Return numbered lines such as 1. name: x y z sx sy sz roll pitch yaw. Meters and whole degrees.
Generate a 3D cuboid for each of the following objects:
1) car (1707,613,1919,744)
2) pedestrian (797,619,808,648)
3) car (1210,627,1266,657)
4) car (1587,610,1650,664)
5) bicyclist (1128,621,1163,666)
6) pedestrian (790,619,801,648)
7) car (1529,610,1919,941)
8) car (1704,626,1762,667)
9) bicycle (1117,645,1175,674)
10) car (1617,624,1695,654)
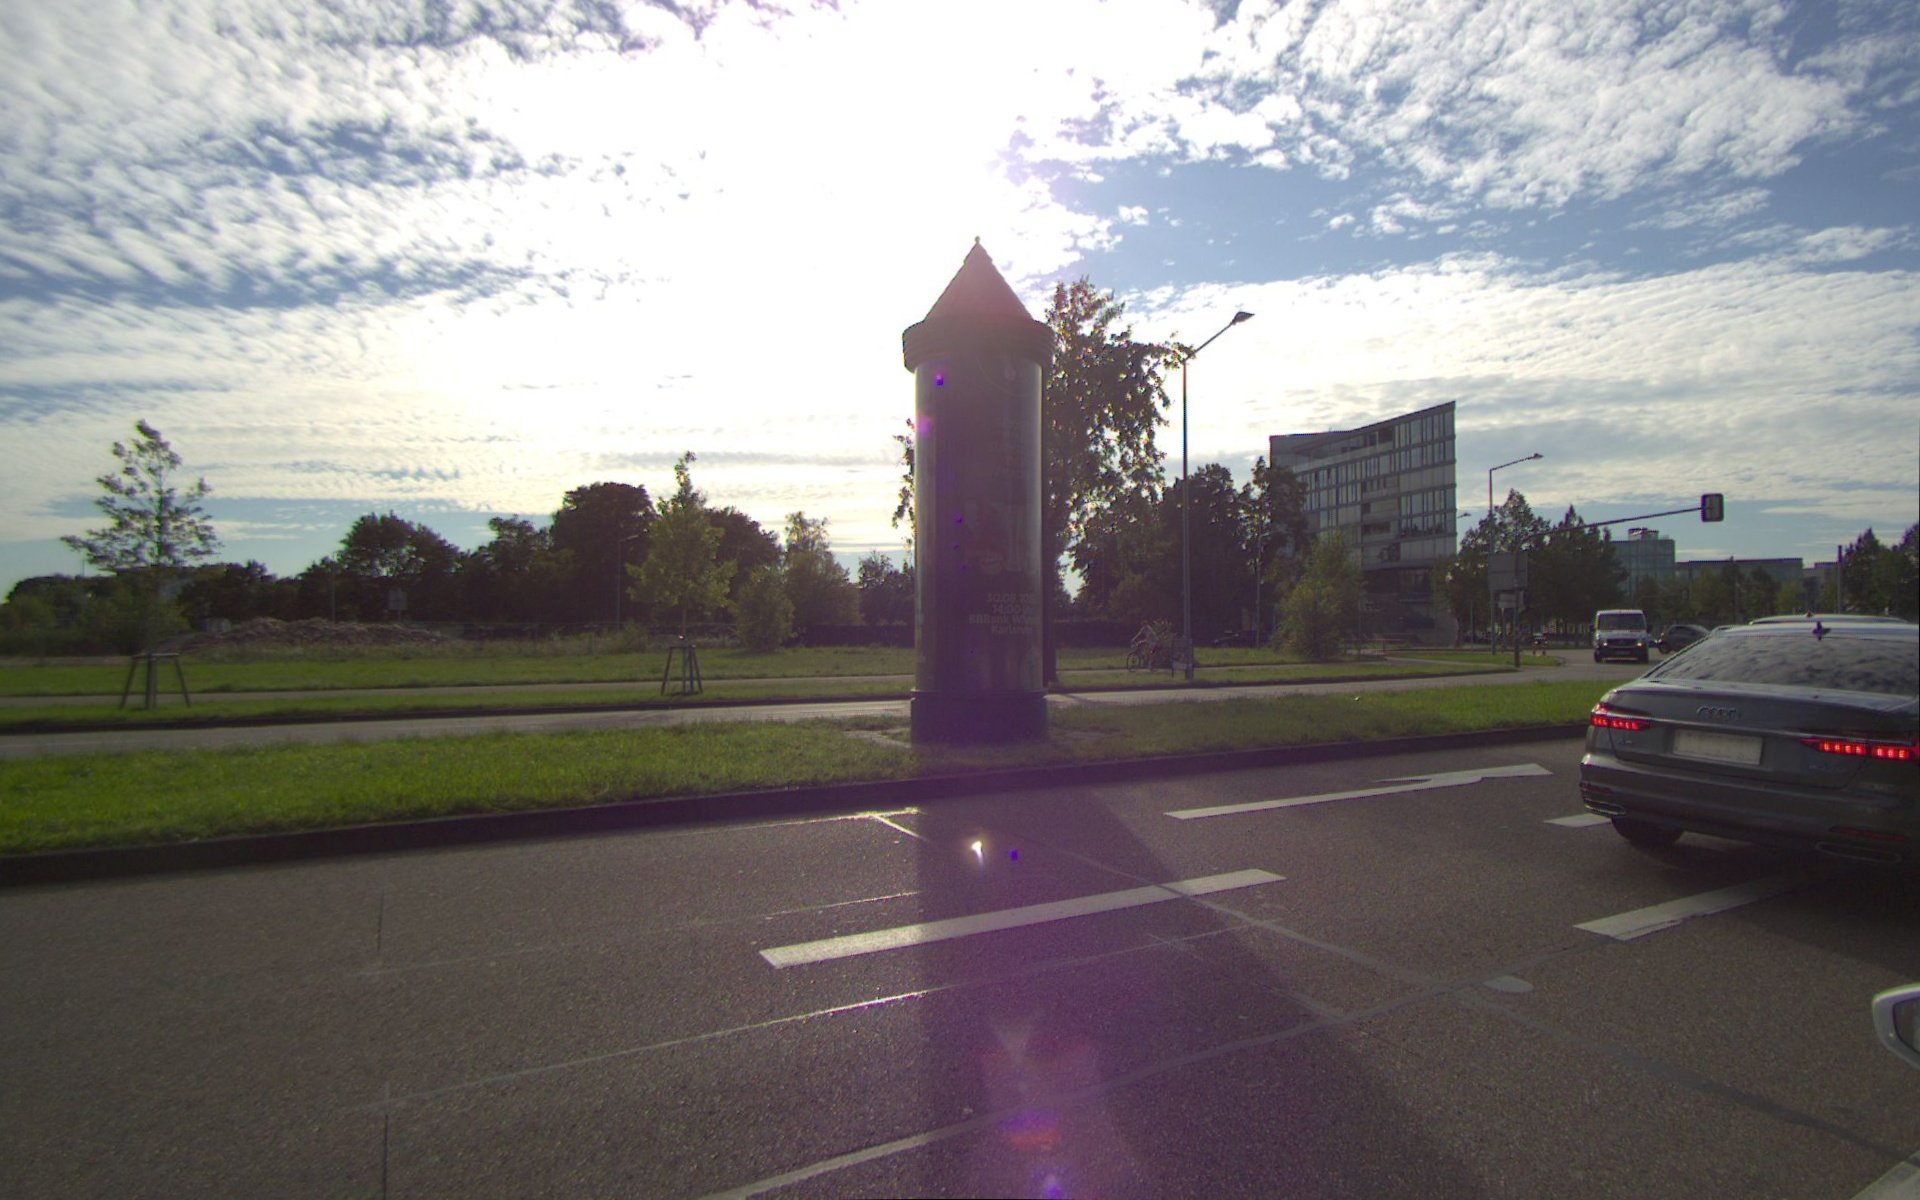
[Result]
1. car: 12.286 0.985 13.896 3.971 1.579 1.721 1 -1 -30
2. pedestrian: -11.247 2.394 71.533 0.723 2.040 0.739 0 -2 -6
3. car: 20.942 3.135 75.761 3.919 2.040 2.001 2 0 13
4. car: 29.747 1.710 45.311 1.968 2.264 5.903 -3 -4 36
5. bicyclist: 6.497 1.522 35.188 0.978 1.546 0.702 1 -2 -30
6. pedestrian: -11.575 2.386 70.704 0.675 2.040 0.641 0 -2 -5
7. car: 5.924 0.857 6.517 4.559 1.502 1.881 1 -1 -31
8. car: 31.845 1.932 41.358 1.685 1.594 3.982 -3 -4 40
9. bicycle: 6.534 2.072 35.230 1.889 0.994 0.890 1 -2 -31
10. car: 37.962 2.148 54.842 1.559 1.594 3.167 2 -3 -35
